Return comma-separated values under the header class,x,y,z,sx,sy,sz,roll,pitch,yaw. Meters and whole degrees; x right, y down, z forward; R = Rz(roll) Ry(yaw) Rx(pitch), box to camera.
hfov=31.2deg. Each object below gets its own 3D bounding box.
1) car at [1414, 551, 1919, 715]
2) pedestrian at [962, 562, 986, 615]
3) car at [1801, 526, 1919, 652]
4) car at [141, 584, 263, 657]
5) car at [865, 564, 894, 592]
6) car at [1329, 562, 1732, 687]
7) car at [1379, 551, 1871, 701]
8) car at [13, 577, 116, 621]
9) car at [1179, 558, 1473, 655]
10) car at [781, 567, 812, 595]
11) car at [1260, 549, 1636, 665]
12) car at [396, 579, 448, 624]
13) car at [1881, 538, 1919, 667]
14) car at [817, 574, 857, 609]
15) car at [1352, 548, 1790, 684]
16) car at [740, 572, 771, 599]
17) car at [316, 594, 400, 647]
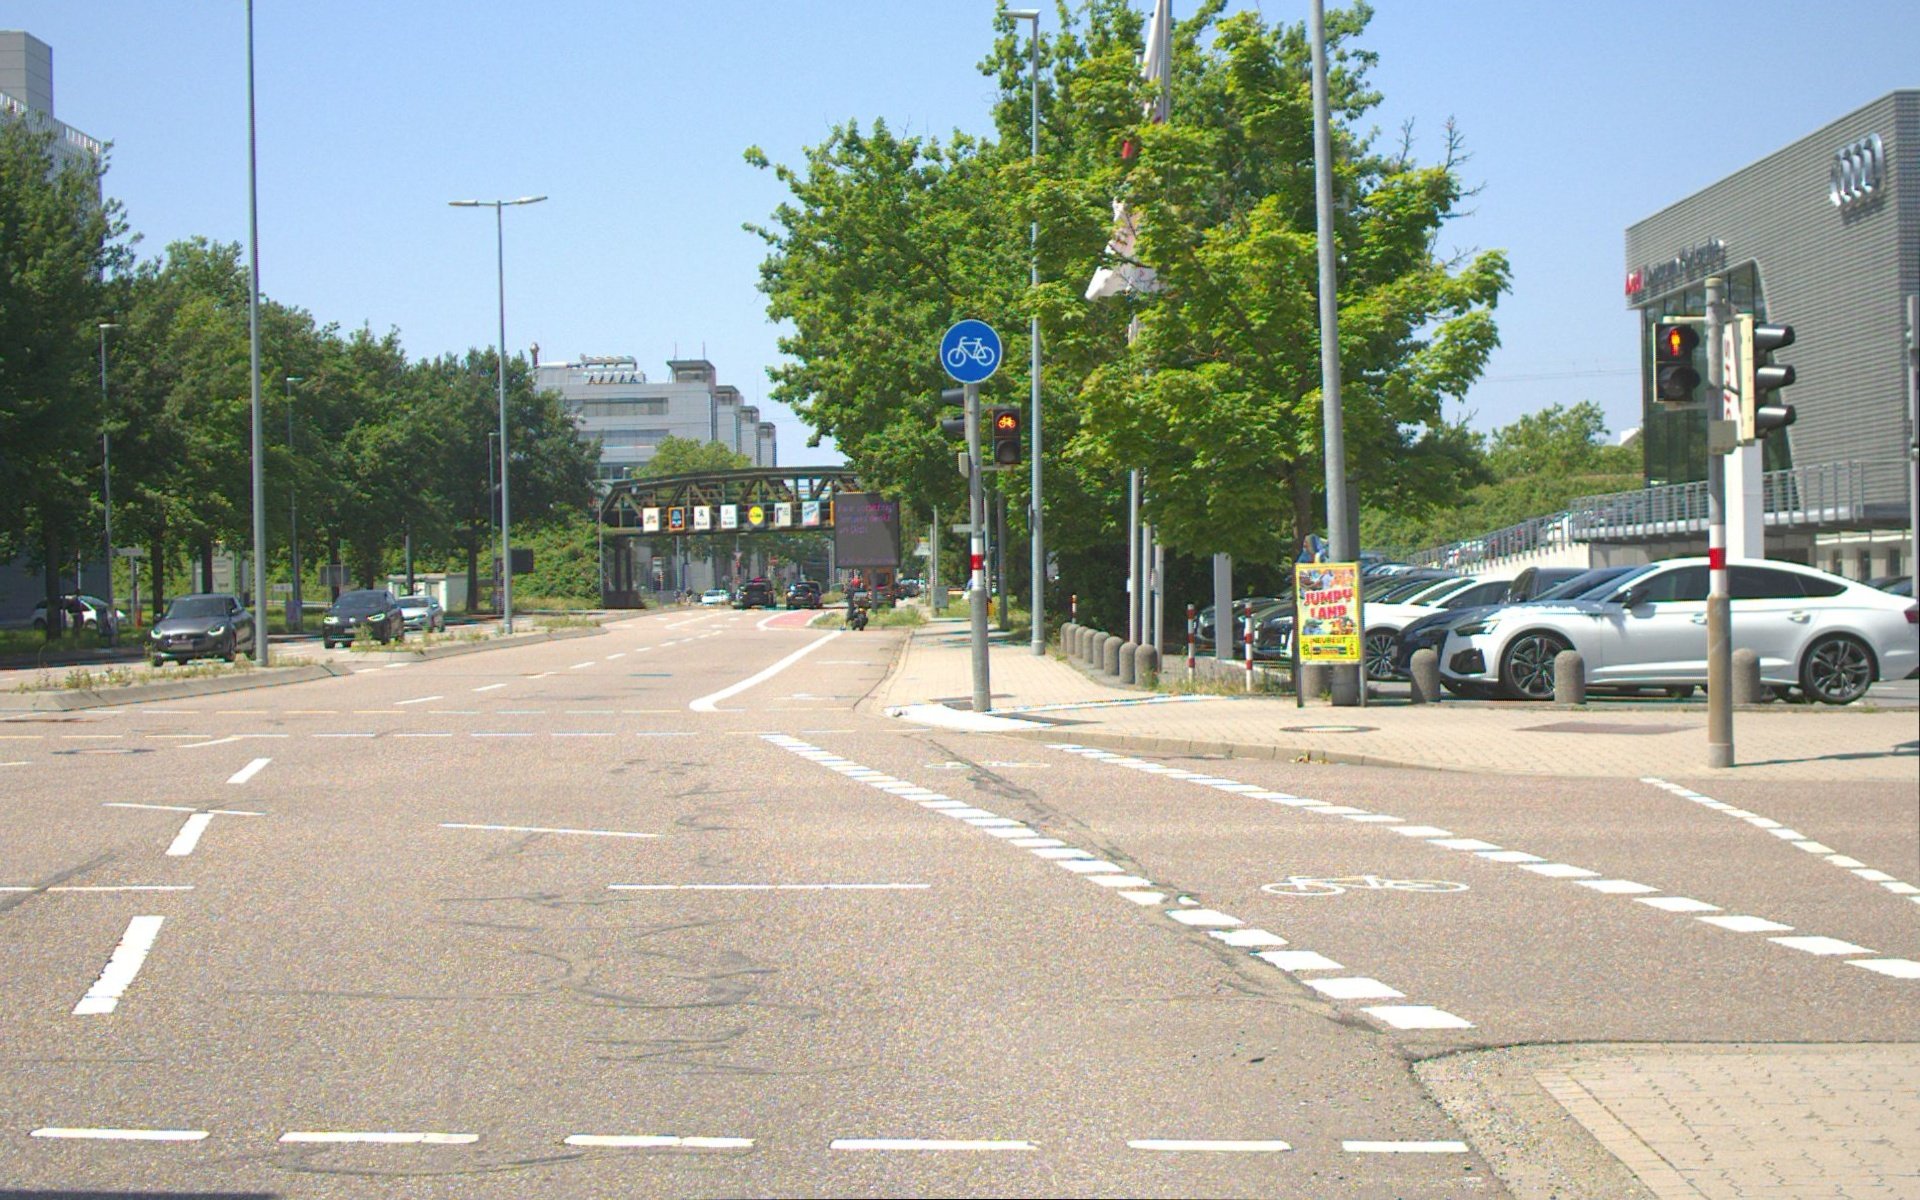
class,x,y,z,sx,sy,sz,roll,pitch,yaw
car,6.886,0.294,33.240,4.741,1.452,2.000,-1,1,2
pedestrian,0.398,-0.338,98.427,0.668,1.505,0.736,-1,0,-1
car,16.139,-0.215,56.776,3.987,2.007,2.000,-1,1,1
car,-16.084,0.415,73.096,1.732,1.422,3.706,-3,0,-1
car,-5.163,-1.385,220.748,1.772,1.722,4.000,-1,0,-1
car,7.206,0.292,43.763,4.741,1.452,2.000,-1,1,-2
car,6.855,0.269,35.838,4.741,1.452,2.000,-1,0,2
car,-38.833,-0.057,149.136,4.022,1.804,1.997,2,1,29
car,6.232,0.098,58.952,4.741,1.452,2.000,-2,1,-2
car,-10.454,-1.226,220.151,1.772,1.722,4.000,-1,0,-1
car,6.555,0.078,46.553,4.741,1.452,2.000,-1,1,-2
car,-20.665,0.050,132.120,1.648,1.647,4.164,-1,1,-5
car,16.841,-0.007,54.376,3.987,2.007,2.000,-1,1,1
car,-3.770,-0.265,105.375,1.137,1.038,2.308,-1,1,-1
car,7.029,0.163,39.933,4.741,1.452,2.000,-1,1,2
car,-13.401,-0.961,225.499,1.772,1.722,4.000,-1,0,-1
car,-16.751,0.555,95.796,1.684,1.406,3.665,-1,0,-1
